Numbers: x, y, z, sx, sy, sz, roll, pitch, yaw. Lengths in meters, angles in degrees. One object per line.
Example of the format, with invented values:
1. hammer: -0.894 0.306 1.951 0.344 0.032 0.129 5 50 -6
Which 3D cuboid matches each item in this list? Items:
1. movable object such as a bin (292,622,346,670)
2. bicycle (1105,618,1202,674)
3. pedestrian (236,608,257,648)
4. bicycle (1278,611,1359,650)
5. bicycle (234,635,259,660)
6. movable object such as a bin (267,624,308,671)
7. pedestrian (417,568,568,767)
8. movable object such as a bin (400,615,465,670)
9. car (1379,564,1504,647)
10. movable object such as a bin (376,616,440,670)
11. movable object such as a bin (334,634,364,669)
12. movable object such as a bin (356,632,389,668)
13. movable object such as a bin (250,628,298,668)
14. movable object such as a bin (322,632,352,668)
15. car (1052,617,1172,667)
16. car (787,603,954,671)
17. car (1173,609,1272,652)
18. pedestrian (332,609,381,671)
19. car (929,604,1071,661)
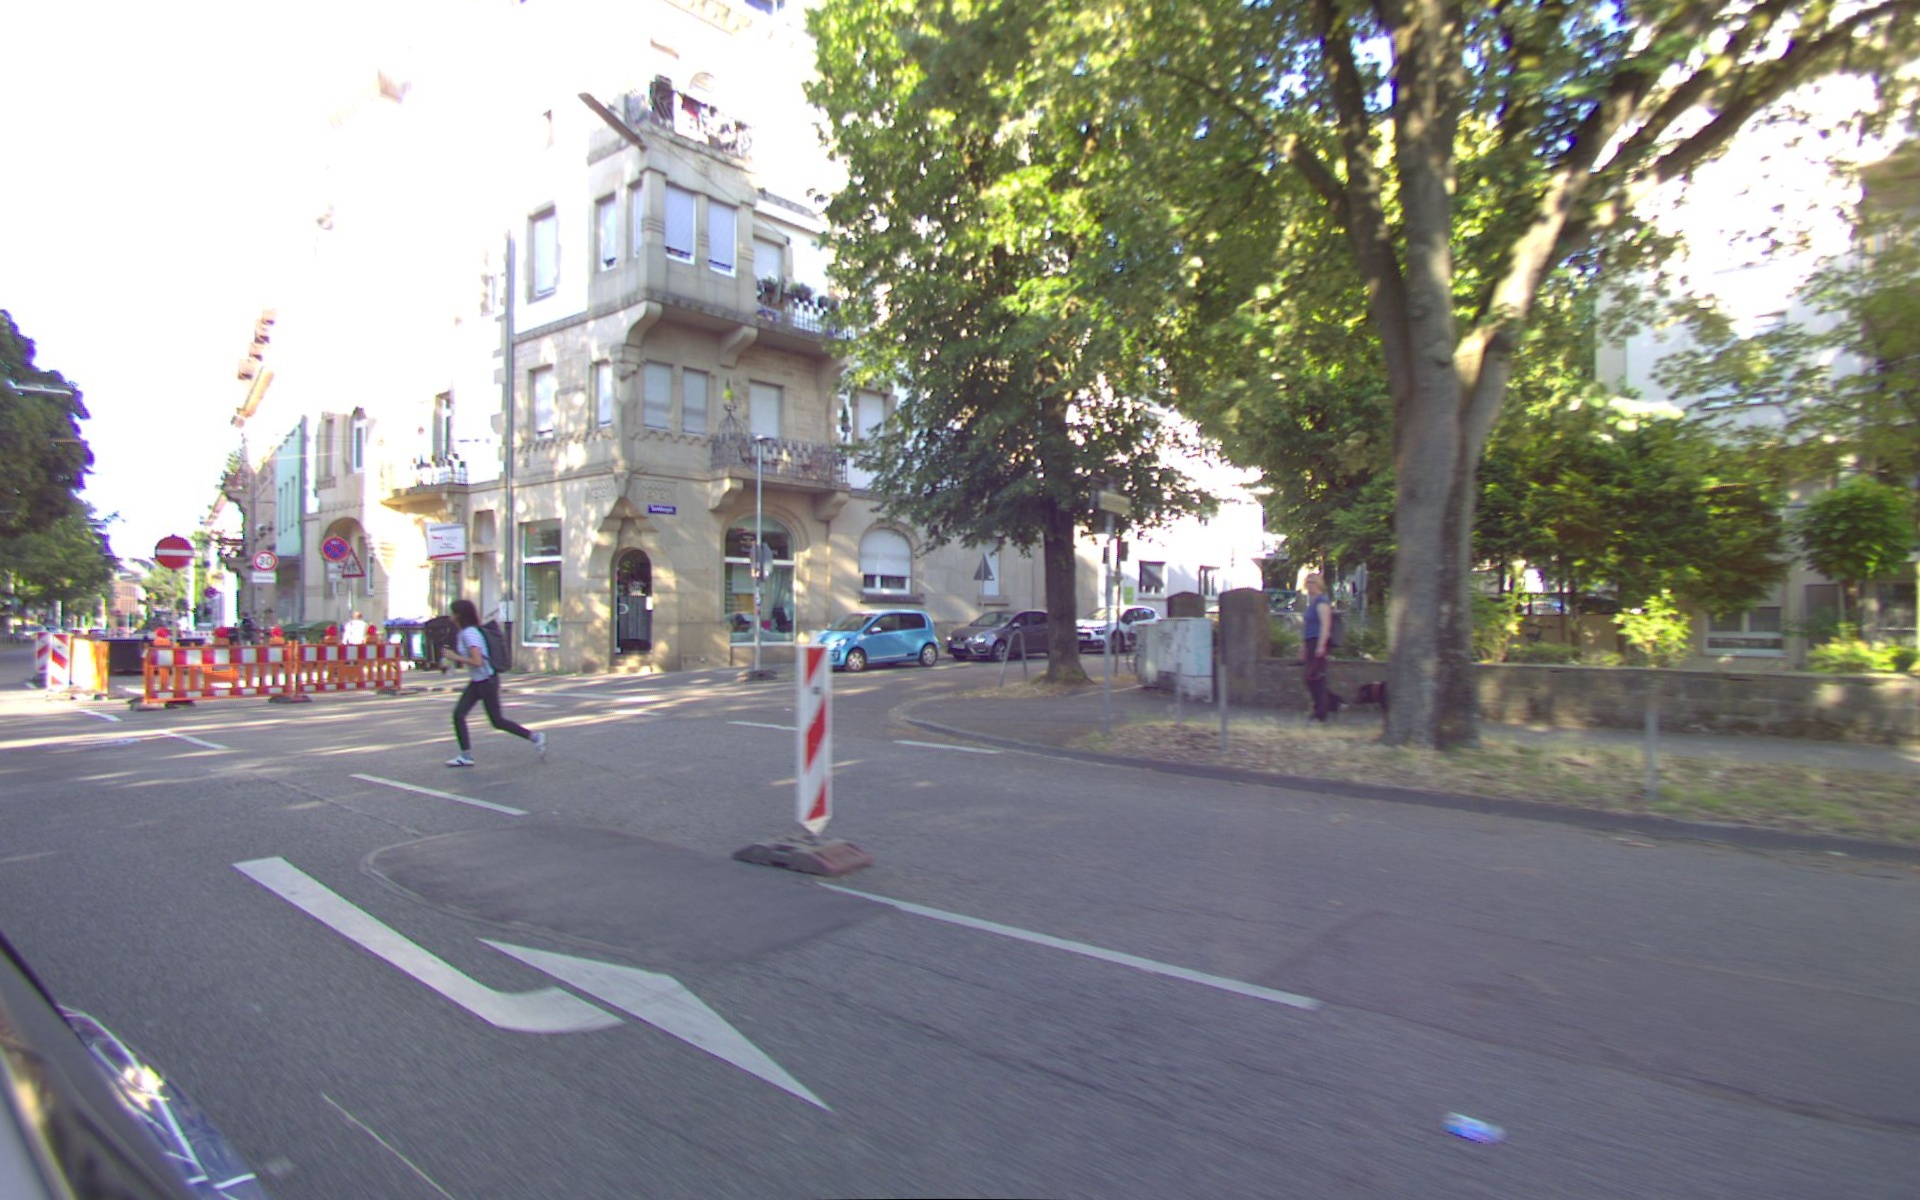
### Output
1. movable object such as a bin: -19.980 1.422 31.523 1.407 1.442 1.071 -2 -1 42
2. bicycle: 4.003 0.941 21.074 0.736 1.085 1.937 -1 -1 -38
3. pedestrian: -28.081 1.088 39.809 0.591 1.568 0.617 0 -1 -44
4. bicycle: 9.776 0.830 27.687 0.913 1.017 1.939 -1 -1 -30
5. bicycle: -28.055 1.849 39.788 0.593 0.939 1.475 -1 -1 -44
6. movable object such as a bin: -21.688 1.518 32.649 1.067 1.442 1.411 -1 -1 -33
7. pedestrian: -4.577 0.623 9.904 1.030 1.795 1.193 1 -2 -42
8. movable object such as a bin: -14.237 1.134 27.291 1.343 1.442 1.072 -2 -1 37
9. car: 16.306 0.247 34.096 2.457 2.585 5.180 -2 -2 41
10. movable object such as a bin: -15.386 1.196 28.213 1.405 1.442 1.072 -2 -1 37
11. movable object such as a bin: -18.230 1.529 30.192 0.556 1.031 0.629 -2 -1 41
12. movable object such as a bin: -17.424 1.471 30.030 0.764 1.049 0.629 -2 -1 42
13. movable object such as a bin: -22.889 1.579 33.759 1.335 1.273 1.070 -2 -1 43
14. movable object such as a bin: -18.788 1.510 30.529 0.588 1.049 0.629 -2 -1 41
15. car: 4.949 1.336 32.592 1.999 1.497 3.945 -2 -2 41
16. car: -2.188 0.919 25.526 1.999 1.564 3.945 -2 -2 41
17. car: 9.850 1.136 37.846 1.999 1.497 3.945 -2 -2 41
18. pedestrian: -16.224 1.059 27.211 0.915 1.615 0.814 -2 -1 33
19. car: 1.200 0.927 28.761 1.999 1.497 3.945 -2 -2 41
